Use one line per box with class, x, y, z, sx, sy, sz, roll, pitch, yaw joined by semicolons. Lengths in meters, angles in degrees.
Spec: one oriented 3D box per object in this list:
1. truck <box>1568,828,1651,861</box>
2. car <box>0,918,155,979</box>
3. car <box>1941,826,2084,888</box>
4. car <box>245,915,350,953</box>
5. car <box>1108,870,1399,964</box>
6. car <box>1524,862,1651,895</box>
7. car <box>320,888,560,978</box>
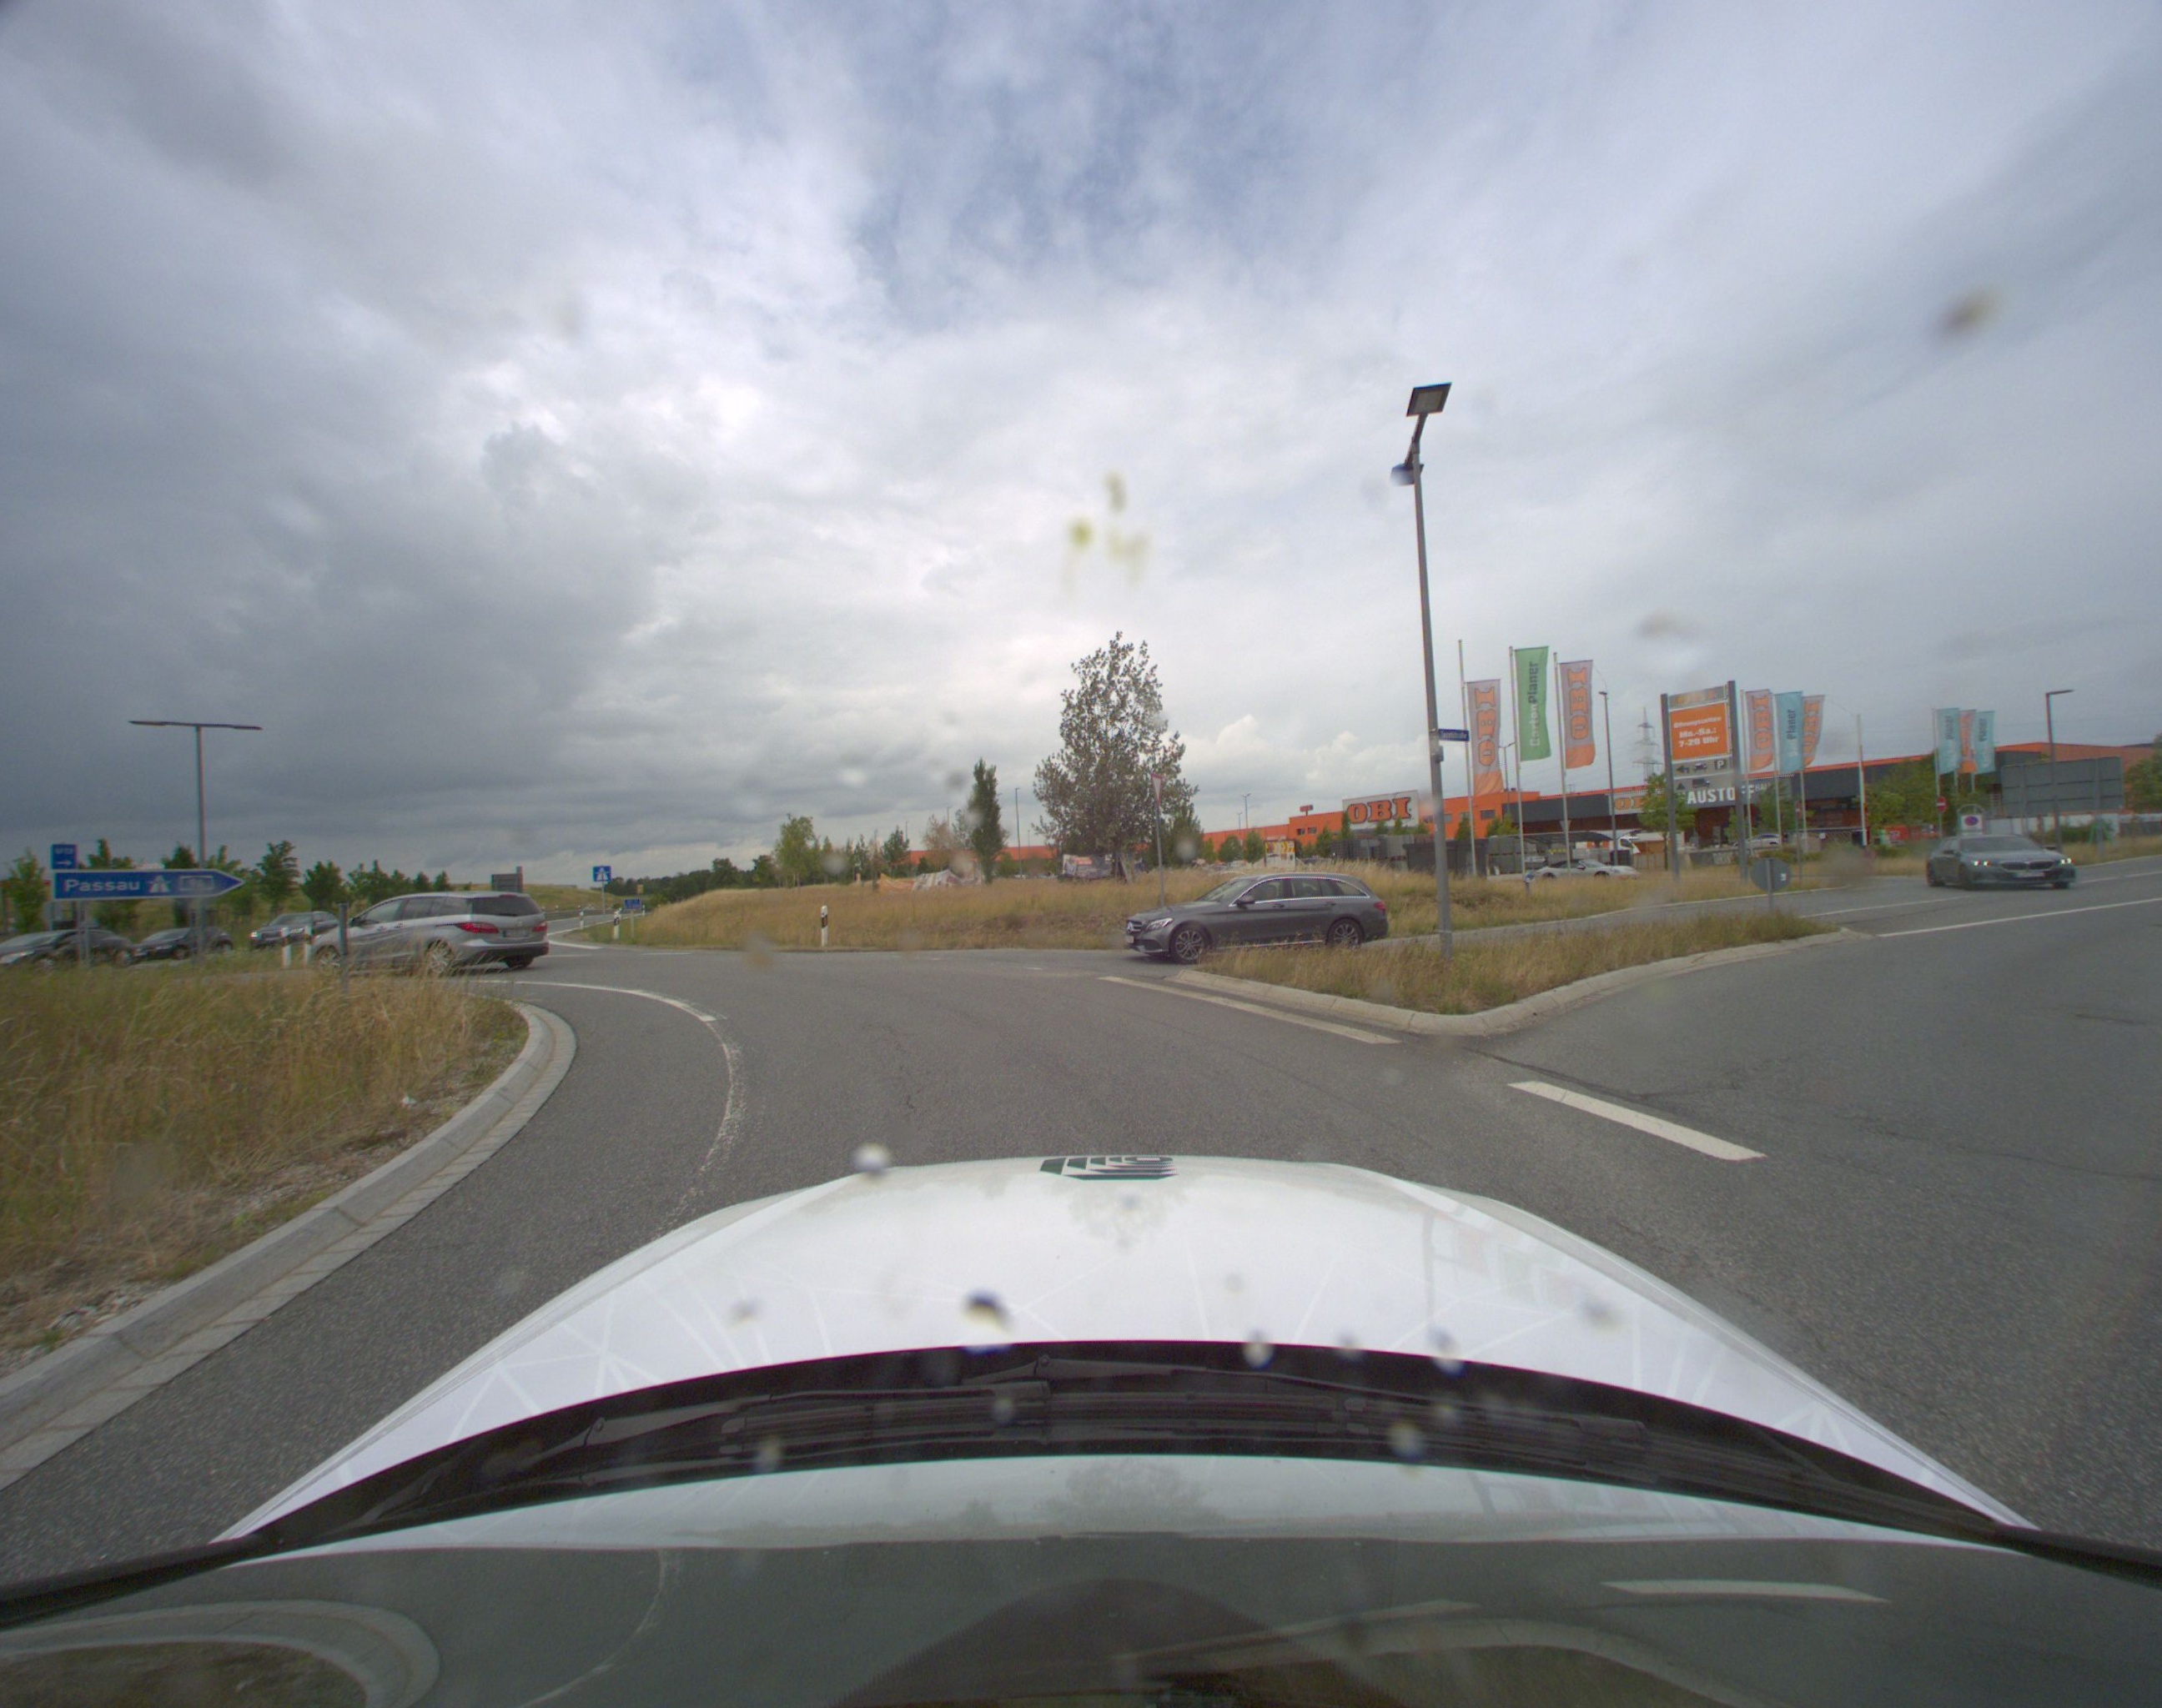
truck;45.871;-0.792;70.818;2.448;2.484;5.495;0;-3;-30
car;-32.778;2.995;25.848;1.994;1.684;4.575;-4;-3;-10
car;25.937;0.138;22.868;1.974;1.507;4.711;-4;-4;41
car;-35.574;3.601;37.143;1.736;1.492;4.511;-1;-3;-20
car;3.003;1.028;14.393;4.682;1.404;1.918;-1;-1;-16
car;23.180;1.126;37.475;1.748;1.404;4.713;0;-1;-29
car;-12.728;1.529;16.222;3.954;1.599;1.751;-2;-2;16
